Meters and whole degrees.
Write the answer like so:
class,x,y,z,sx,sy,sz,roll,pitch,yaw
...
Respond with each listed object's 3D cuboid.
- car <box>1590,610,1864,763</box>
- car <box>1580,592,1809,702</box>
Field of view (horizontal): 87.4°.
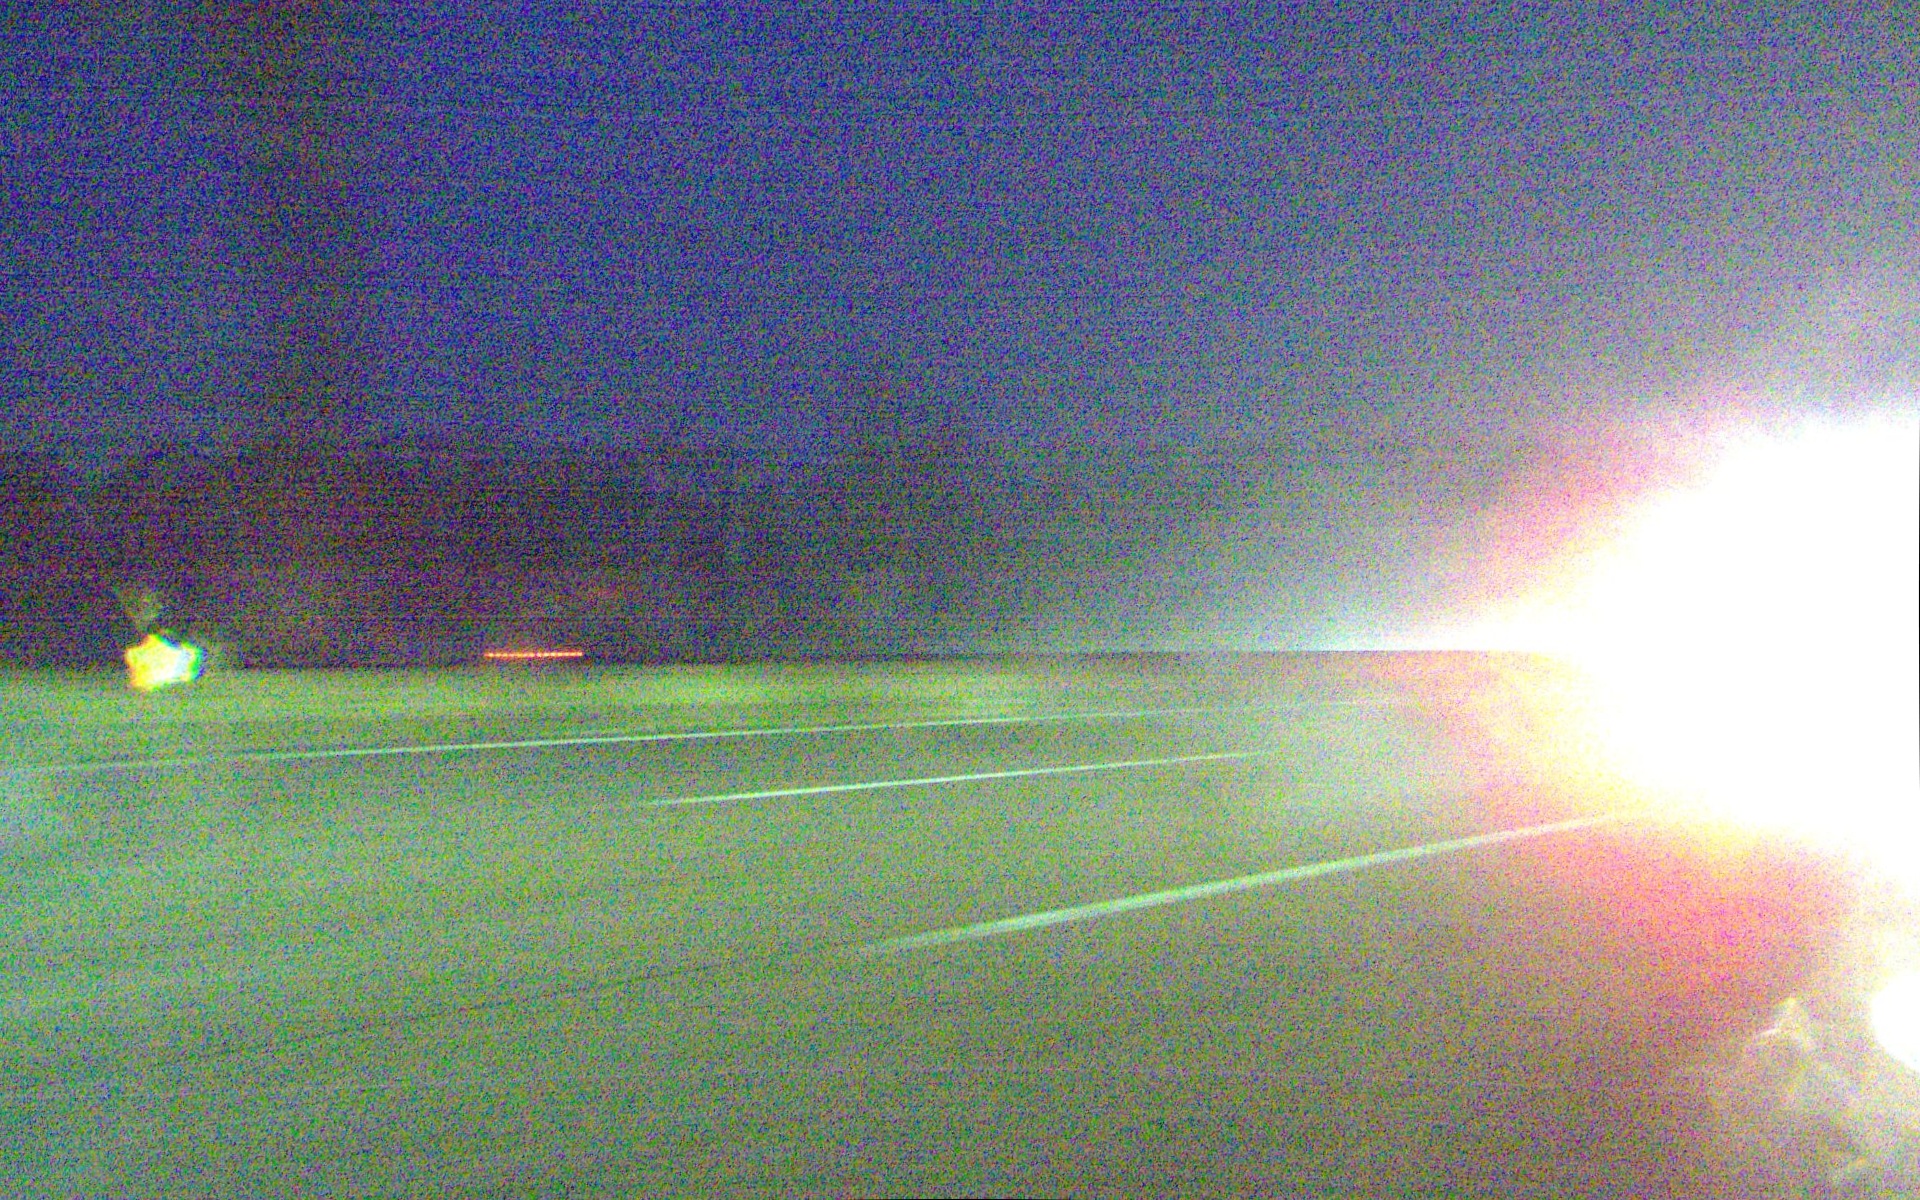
class,x,y,z,sx,sy,sz,roll,pitch,yaw
car,10.150,1.003,13.219,3.960,1.712,1.754,1,0,-35
car,16.054,0.971,21.875,5.566,2.132,2.112,1,-1,-32
